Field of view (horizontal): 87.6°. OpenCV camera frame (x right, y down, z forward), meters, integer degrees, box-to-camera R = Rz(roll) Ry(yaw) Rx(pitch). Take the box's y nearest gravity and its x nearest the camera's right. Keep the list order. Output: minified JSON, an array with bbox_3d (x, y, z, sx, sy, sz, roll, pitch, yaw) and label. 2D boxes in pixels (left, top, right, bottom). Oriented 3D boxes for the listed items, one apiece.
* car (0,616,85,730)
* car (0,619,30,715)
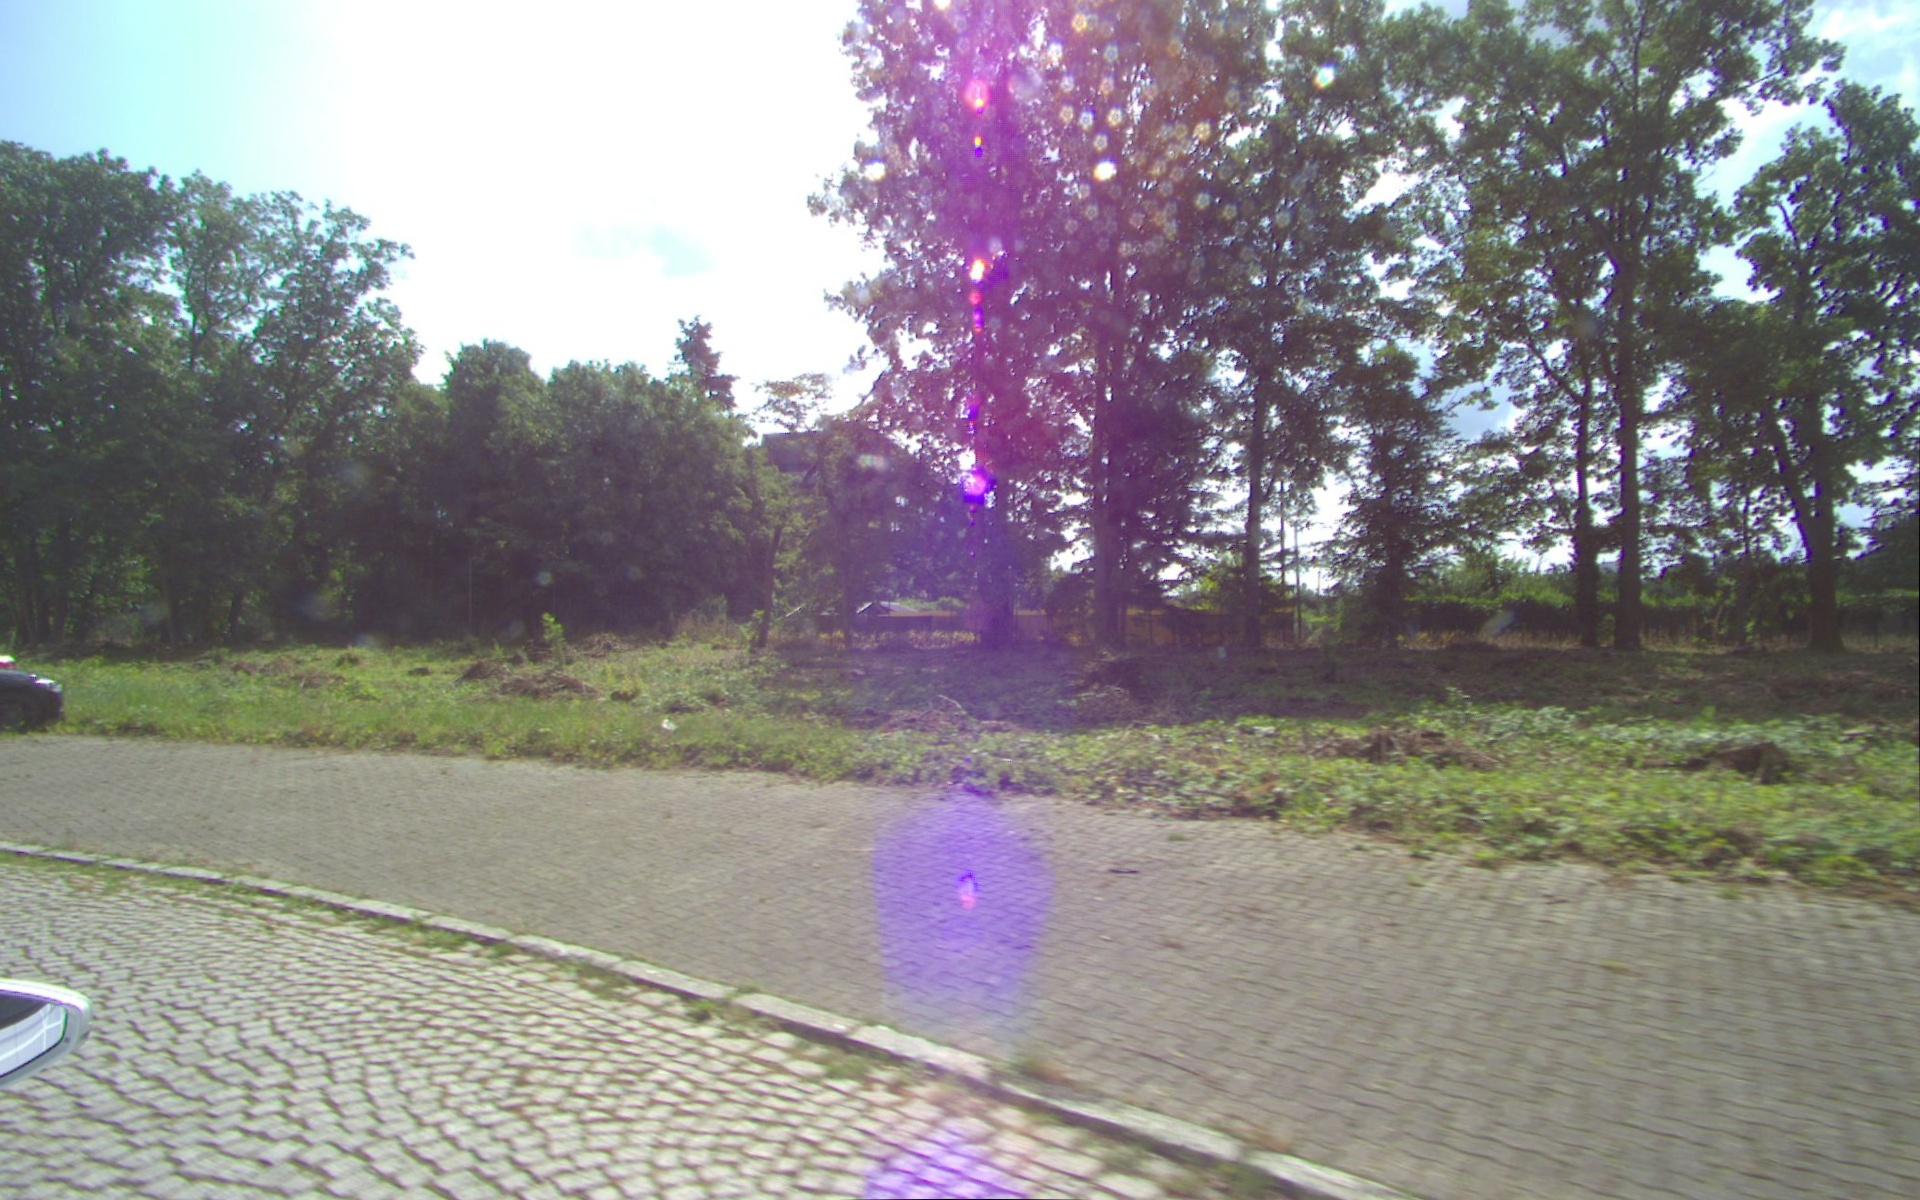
[{"bbox_3d":[-14.493,1.016,13.041,1.802,1.520,4.318,0,0,30],"label":"car"},{"bbox_3d":[-17.141,1.072,14.718,1.850,1.492,4.845,0,0,36],"label":"car"}]
